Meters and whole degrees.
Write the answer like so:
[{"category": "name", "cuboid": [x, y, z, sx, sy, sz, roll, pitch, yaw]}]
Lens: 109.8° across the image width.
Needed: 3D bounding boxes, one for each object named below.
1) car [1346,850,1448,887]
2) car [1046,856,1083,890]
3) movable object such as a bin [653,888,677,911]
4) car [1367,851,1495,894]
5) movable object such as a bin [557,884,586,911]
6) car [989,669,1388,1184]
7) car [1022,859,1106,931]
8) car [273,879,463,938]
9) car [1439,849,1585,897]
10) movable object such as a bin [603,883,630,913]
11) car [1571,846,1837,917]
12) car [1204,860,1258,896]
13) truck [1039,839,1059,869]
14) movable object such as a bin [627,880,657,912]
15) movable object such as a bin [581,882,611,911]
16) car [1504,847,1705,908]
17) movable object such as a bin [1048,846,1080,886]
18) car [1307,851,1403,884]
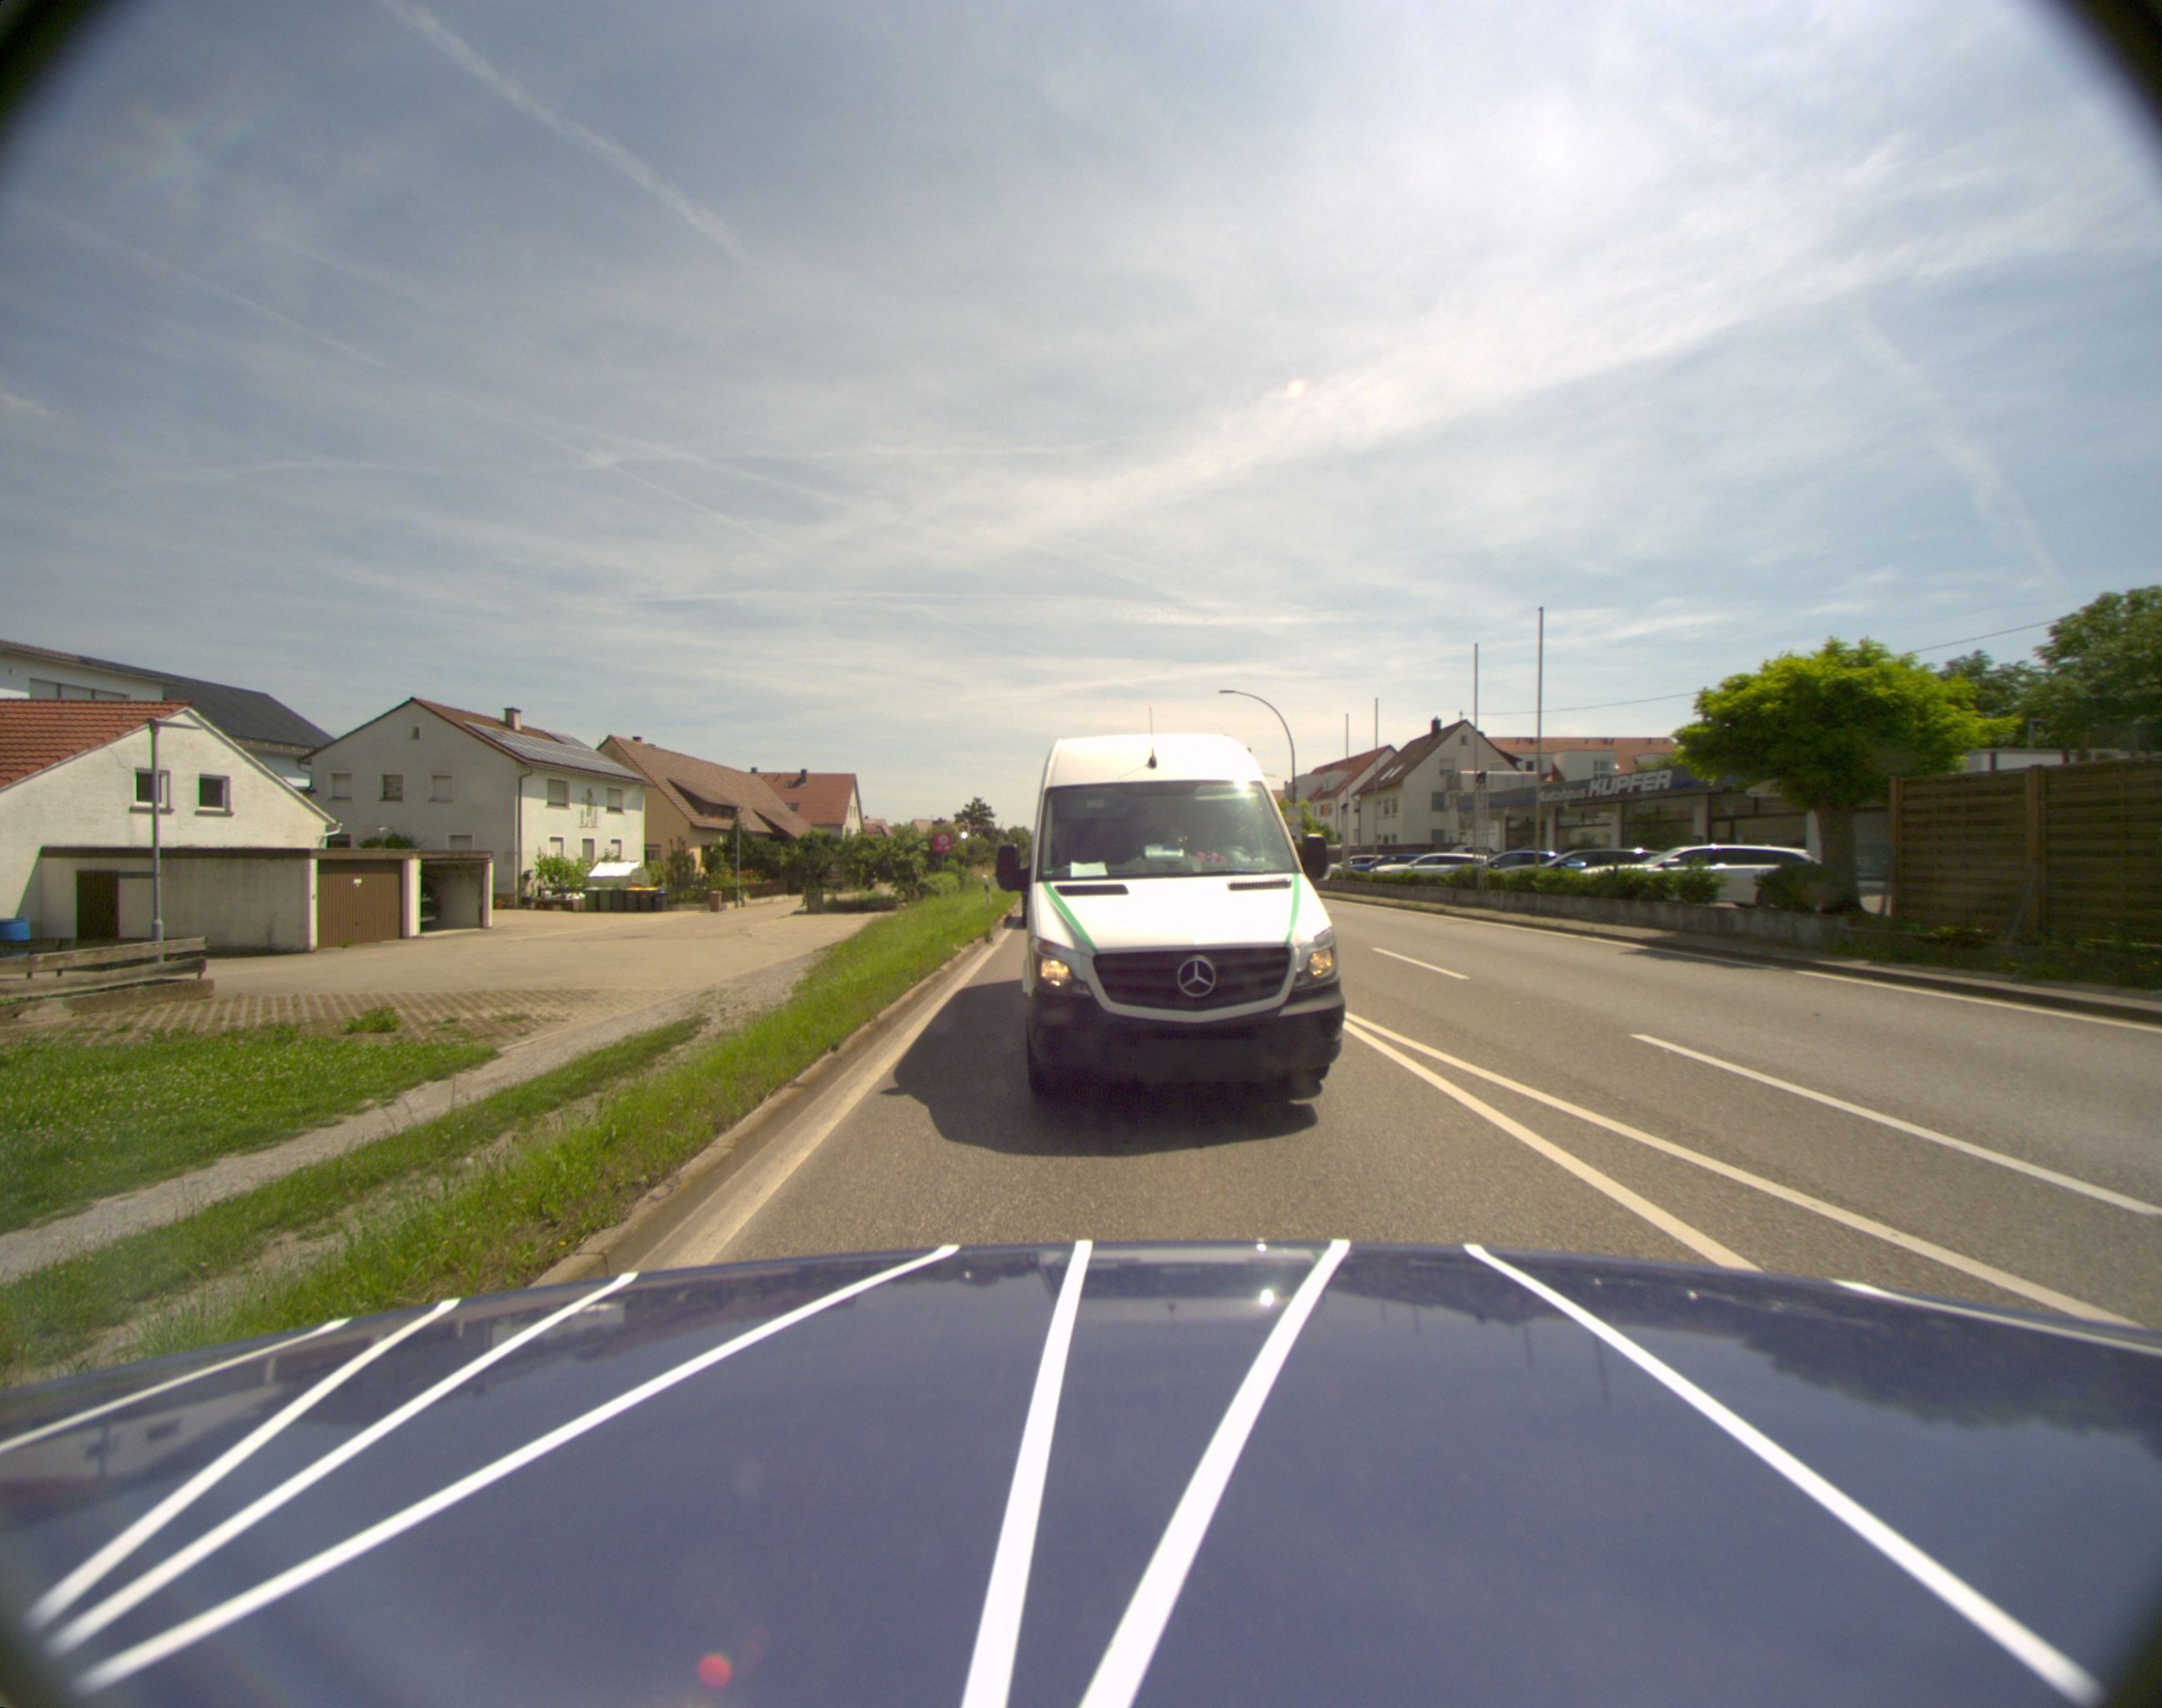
[{"category": "car", "cuboid": [13.936, 0.634, 33.485, 3.990, 1.455, 2.003, -2, 0, 26]}, {"category": "car", "cuboid": [-0.842, 0.942, 39.448, 1.824, 1.637, 3.901, -1, 0, -1]}, {"category": "movable object such as a bin", "cuboid": [-18.857, 2.061, 34.478, 0.645, 1.021, 0.756, -2, 0, -1]}, {"category": "car", "cuboid": [13.485, 0.710, 29.356, 4.303, 1.510, 2.003, -2, 0, 27]}, {"category": "movable object such as a bin", "cuboid": [-23.055, 1.951, 34.394, 0.740, 1.149, 0.830, -2, 0, -1]}, {"category": "car", "cuboid": [0.523, 0.386, 6.724, 1.978, 2.583, 5.633, -2, 0, -1]}, {"category": "car", "cuboid": [-0.402, 0.916, 18.734, 1.824, 1.574, 3.901, -1, 0, -1]}, {"category": "car", "cuboid": [-21.548, 1.622, 23.080, 3.997, 1.594, 1.826, -1, 0, 0]}, {"category": "car", "cuboid": [13.981, 0.610, 24.938, 3.990, 1.433, 1.857, -2, 0, 25]}, {"category": "movable object such as a bin", "cuboid": [-21.204, 2.009, 34.681, 0.678, 1.330, 0.820, -2, 0, -1]}, {"category": "car", "cuboid": [13.877, 0.610, 17.297, 4.329, 1.451, 1.858, -1, 0, 24]}, {"category": "car", "cuboid": [6.377, 0.986, 32.710, 1.626, 1.373, 3.560, -2, 0, 1]}, {"category": "truck", "cuboid": [-4.253, 0.018, 101.282, 2.506, 3.847, 5.497, -2, 0, -1]}, {"category": "movable object such as a bin", "cuboid": [-19.866, 1.894, 34.384, 0.765, 1.362, 0.946, -2, 0, -1]}, {"category": "movable object such as a bin", "cuboid": [-22.125, 1.920, 34.652, 0.745, 1.239, 0.889, -2, 0, -1]}, {"category": "car", "cuboid": [14.226, 0.654, 20.982, 4.251, 1.536, 1.853, -2, 0, 23]}, {"category": "movable object such as a bin", "cuboid": [-1.179, 0.846, 55.233, 1.998, 2.710, 5.419, -1, 0, 1]}, {"category": "car", "cuboid": [13.567, 0.666, 37.618, 4.255, 1.521, 2.003, -2, 0, 26]}]
